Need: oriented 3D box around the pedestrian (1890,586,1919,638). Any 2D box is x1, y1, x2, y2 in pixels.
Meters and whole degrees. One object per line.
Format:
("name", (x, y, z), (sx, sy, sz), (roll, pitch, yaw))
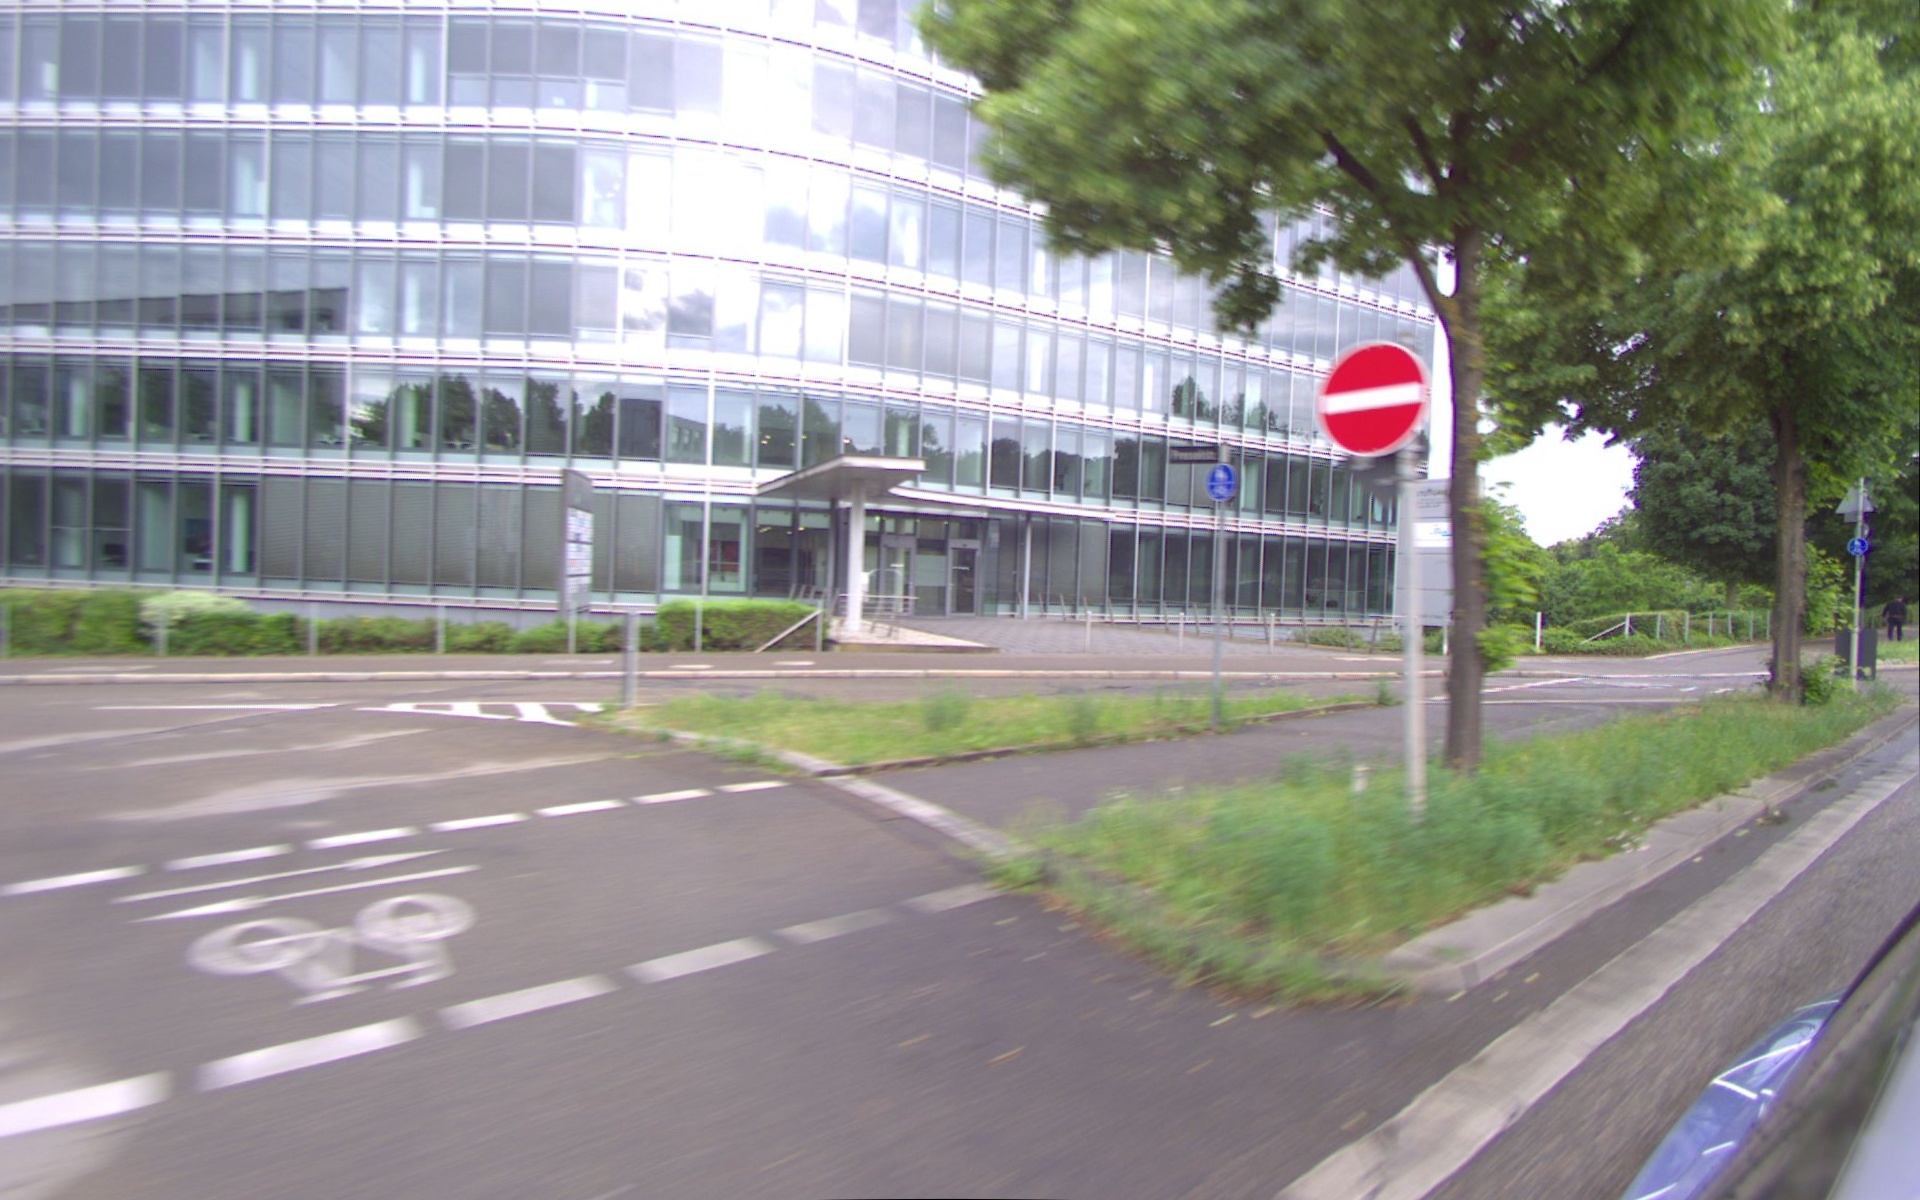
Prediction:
("pedestrian", (33.437, 0.414, 35.686), (0.852, 1.819, 0.827), (0, 1, -40))
